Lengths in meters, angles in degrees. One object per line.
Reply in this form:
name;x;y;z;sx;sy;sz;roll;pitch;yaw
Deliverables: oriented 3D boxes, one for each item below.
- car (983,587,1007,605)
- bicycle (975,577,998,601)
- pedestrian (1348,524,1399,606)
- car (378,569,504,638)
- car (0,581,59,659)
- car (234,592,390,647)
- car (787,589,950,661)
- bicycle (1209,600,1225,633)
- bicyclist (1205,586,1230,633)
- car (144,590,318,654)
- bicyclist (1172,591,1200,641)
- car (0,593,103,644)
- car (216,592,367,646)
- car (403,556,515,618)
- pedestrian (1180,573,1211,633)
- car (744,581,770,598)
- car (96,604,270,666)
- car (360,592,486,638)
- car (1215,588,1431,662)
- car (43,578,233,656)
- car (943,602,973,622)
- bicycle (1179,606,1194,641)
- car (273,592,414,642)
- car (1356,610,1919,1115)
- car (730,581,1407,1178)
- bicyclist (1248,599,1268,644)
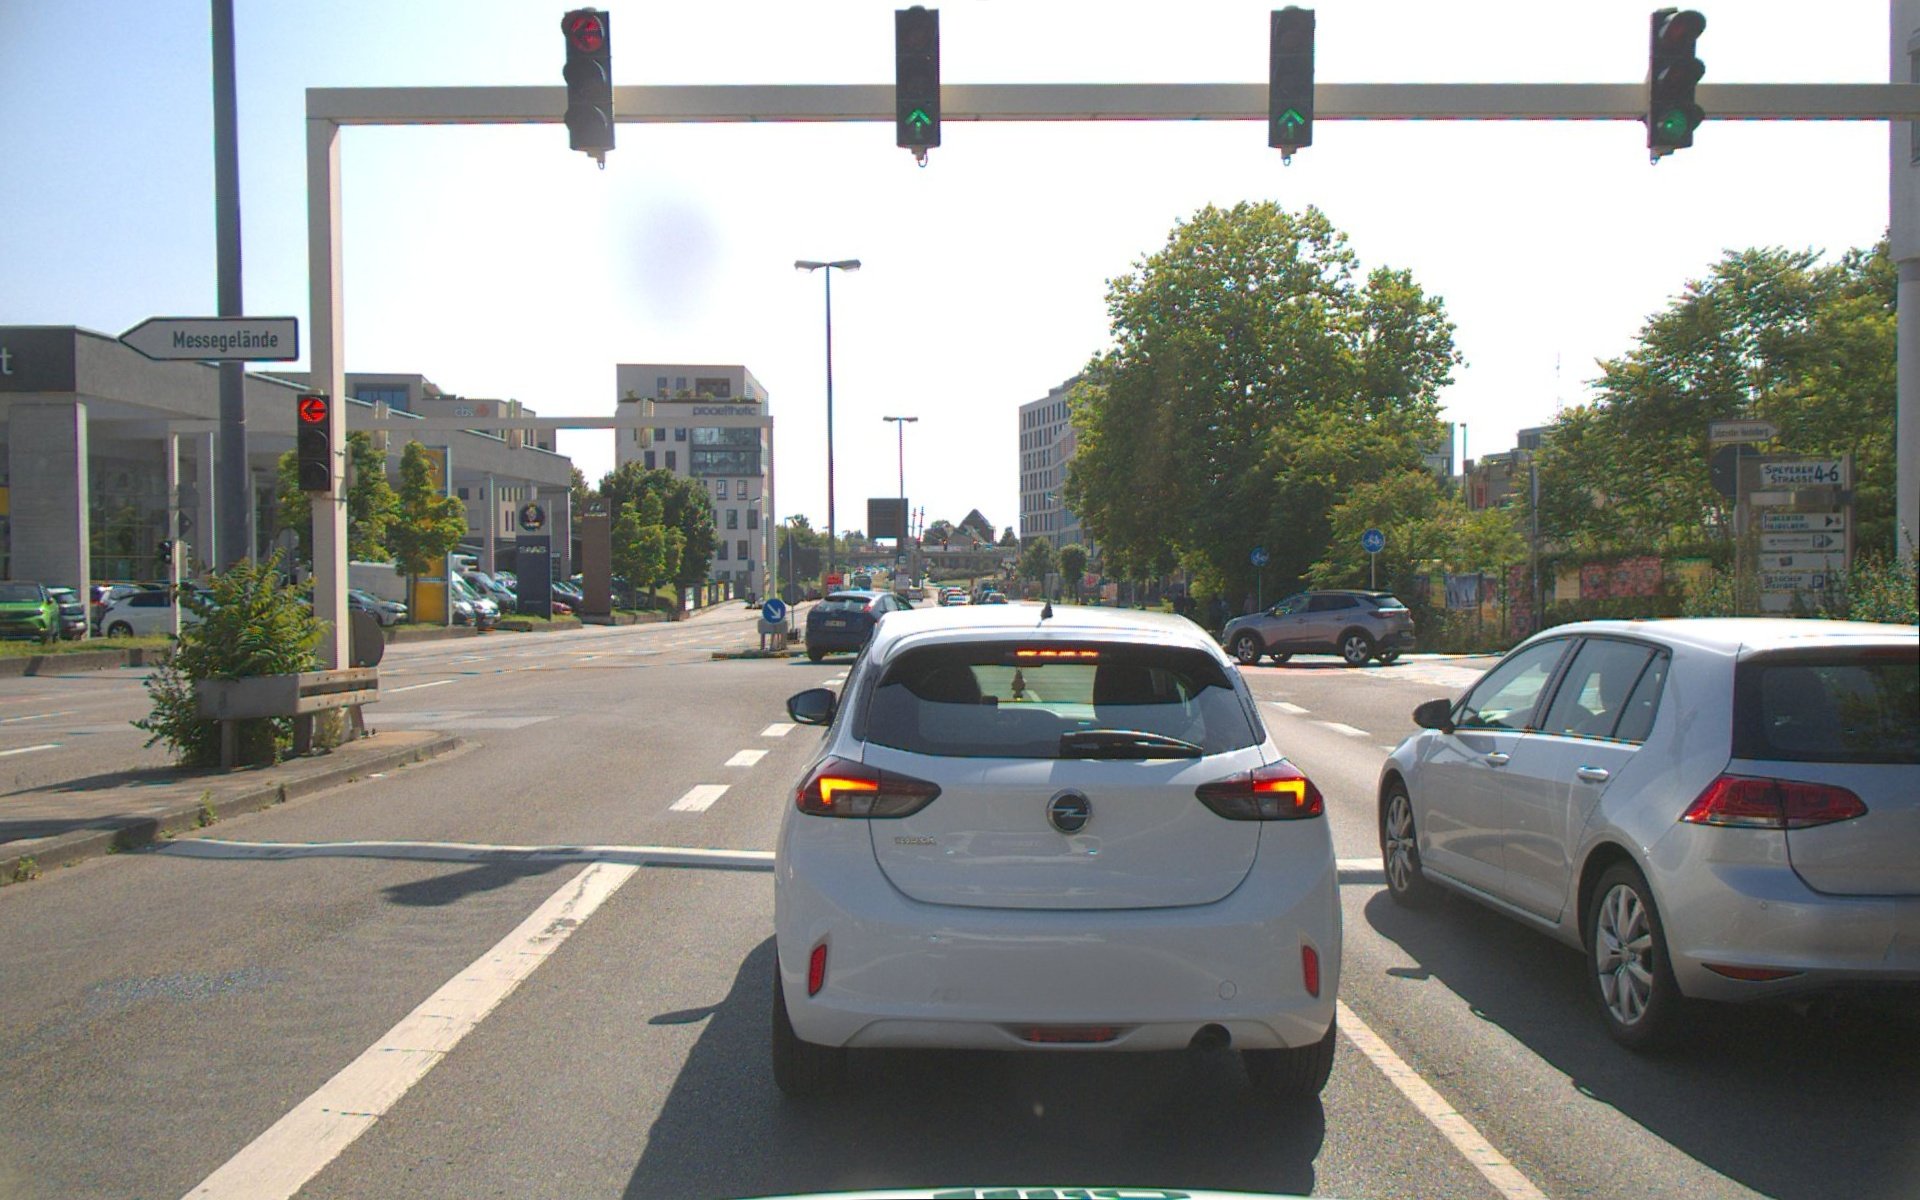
car;2.842;-0.287;135.299;1.769;1.410;3.999;1;-1;-1
bicycle;2.480;-1.044;155.536;1.953;2.195;3.999;0;0;-1
pedestrian;10.457;-0.869;41.880;1.006;2.049;1.038;0;0;-1
car;-21.139;0.152;67.419;4.401;2.731;2.130;0;0;8
car;-22.561;0.500;38.955;1.887;1.764;3.250;-1;-1;-37
car;-21.018;0.625;53.775;4.270;1.726;1.999;0;0;-3
car;-1.935;0.522;36.420;1.953;1.472;4.371;0;0;21
bicycle;9.200;0.582;59.191;0.366;1.167;1.034;1;-1;-3
bicyclist;9.210;0.342;59.233;0.675;1.672;0.775;0;0;-9
car;-21.389;0.617;48.632;4.211;1.796;1.999;-1;0;-4
bicyclist;8.205;0.563;60.138;0.861;1.803;0.863;0;0;-1
car;-26.265;0.542;45.535;4.276;1.290;1.996;-2;-1;-9
car;-22.512;0.624;55.817;4.270;1.726;1.999;-1;0;-4
car;-21.985;-0.569;72.719;4.265;2.646;2.001;-1;0;4
pedestrian;9.055;0.122;63.597;1.006;2.278;1.038;0;0;-1
car;-17.397;-0.882;141.870;1.769;1.410;3.999;1;-1;-1
car;-21.536;0.938;45.970;3.912;1.627;1.997;-1;0;-8
car;-21.068;0.568;64.971;4.265;1.726;2.001;-1;0;4
car;8.151;0.536;37.256;4.344;1.578;1.993;0;0;35
car;-20.730;0.409;41.850;3.793;1.870;1.999;-1;0;-4
car;-0.168;0.848;118.506;1.954;1.355;3.997;1;-1;-3
bicycle;8.226;0.846;60.136;0.365;1.238;1.153;1;0;-1
car;-22.024;0.593;59.213;4.270;1.726;1.999;-1;0;-4
car;3.102;0.780;6.893;1.771;1.454;3.998;0;0;-3
car;0.251;0.711;6.278;1.743;1.520;3.999;-1;0;-1
bicyclist;11.131;0.814;61.807;0.639;1.666;0.659;1;-1;0
